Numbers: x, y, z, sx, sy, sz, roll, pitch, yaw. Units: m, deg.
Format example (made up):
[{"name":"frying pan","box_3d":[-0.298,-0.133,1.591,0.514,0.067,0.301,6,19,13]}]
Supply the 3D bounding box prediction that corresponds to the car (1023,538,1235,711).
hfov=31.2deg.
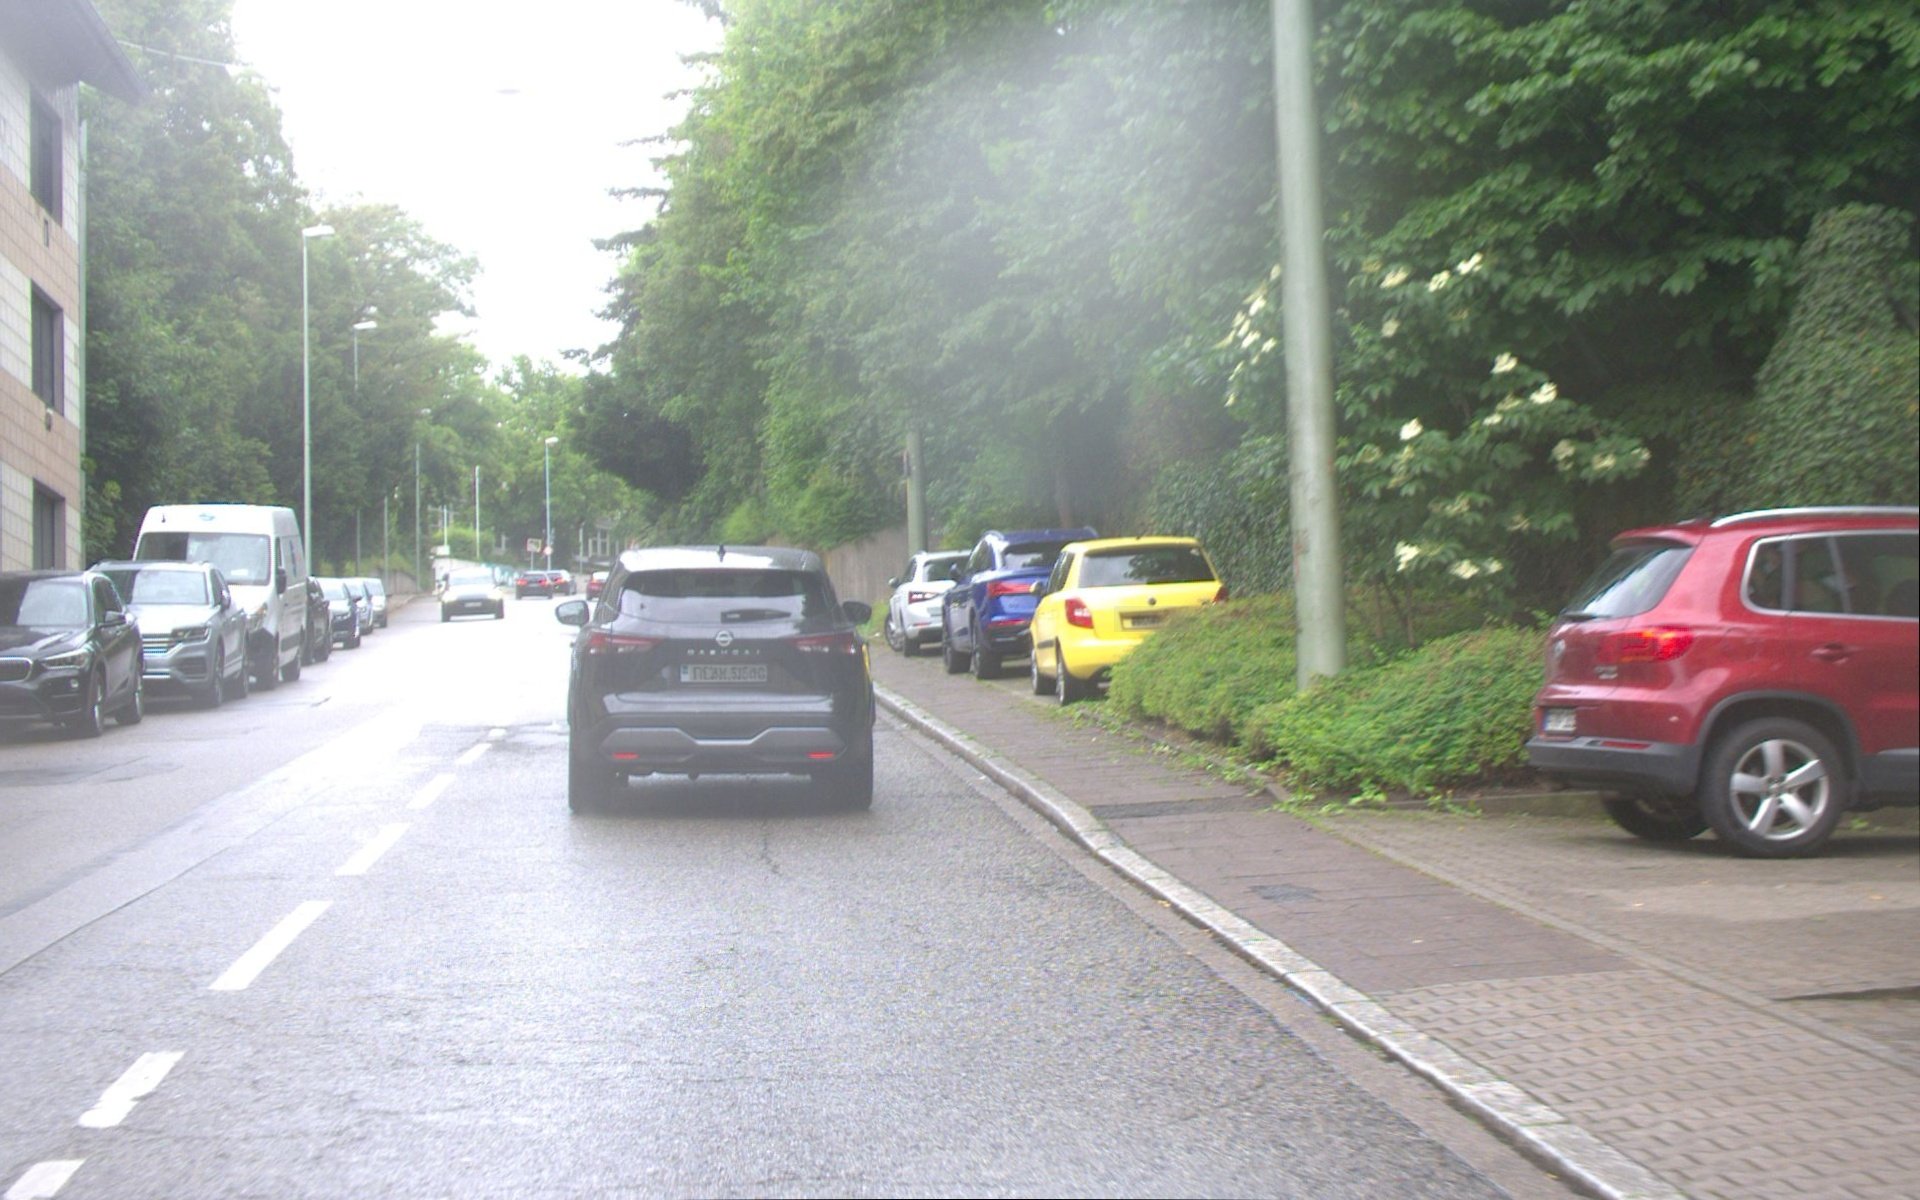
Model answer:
[{"name":"car","box_3d":[1.540,0.201,32.594,1.633,1.525,4.000,1,0,-2]}]

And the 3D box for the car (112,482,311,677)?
[{"name":"car","box_3d":[-10.133,-0.298,46.921,1.990,2.466,5.785,-1,1,-6]}]

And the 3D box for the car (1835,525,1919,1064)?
[{"name":"car","box_3d":[4.788,0.609,9.493,4.197,1.491,1.760,2,0,-7]}]

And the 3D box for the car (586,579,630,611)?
[{"name":"car","box_3d":[-17.830,-0.263,174.038,2.074,1.554,4.001,0,0,-8]}]

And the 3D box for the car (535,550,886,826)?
[{"name":"car","box_3d":[-1.602,0.483,21.759,1.993,1.554,4.001,1,1,-5]}]

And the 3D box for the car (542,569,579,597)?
[{"name":"car","box_3d":[-23.144,-0.994,199.357,2.074,1.554,4.001,0,0,-6]}]

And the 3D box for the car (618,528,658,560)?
[{"name":"car","box_3d":[-17.963,-3.107,191.674,1.993,1.554,4.000,-2,-1,-3]}]

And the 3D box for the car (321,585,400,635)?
[{"name":"car","box_3d":[-17.802,0.271,102.290,1.990,1.379,4.459,-1,1,-6]}]

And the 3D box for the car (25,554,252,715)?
[{"name":"car","box_3d":[-9.542,0.351,40.248,1.990,1.749,4.481,-1,1,-6]}]

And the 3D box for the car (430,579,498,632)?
[{"name":"car","box_3d":[-15.588,0.162,108.179,1.993,1.554,4.001,1,1,-7]}]

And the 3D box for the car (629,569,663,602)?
[{"name":"car","box_3d":[-20.566,-0.922,225.419,1.993,2.007,4.000,1,-2,-2]}]

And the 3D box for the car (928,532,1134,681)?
[{"name":"car","box_3d":[0.750,0.057,39.520,1.810,1.525,4.418,-3,1,-5]}]

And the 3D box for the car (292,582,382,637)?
[{"name":"car","box_3d":[-16.521,0.234,91.319,1.990,1.379,4.459,-1,1,-6]}]

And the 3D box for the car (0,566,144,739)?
[{"name":"car","box_3d":[-9.376,0.476,33.999,1.990,1.580,4.306,-1,1,-6]}]

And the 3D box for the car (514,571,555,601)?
[{"name":"car","box_3d":[-22.292,-0.732,180.082,2.074,1.554,4.001,0,0,-6]}]

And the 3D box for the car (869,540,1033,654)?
[{"name":"car","box_3d":[-0.186,-0.051,50.407,1.810,1.525,4.418,-3,1,-7]}]

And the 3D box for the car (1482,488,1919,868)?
[{"name":"car","box_3d":[4.922,0.405,17.138,4.196,1.729,1.760,2,0,-9]}]

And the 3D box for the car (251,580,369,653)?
[{"name":"car","box_3d":[-13.248,0.316,70.285,1.990,1.379,4.459,-1,1,-6]}]
